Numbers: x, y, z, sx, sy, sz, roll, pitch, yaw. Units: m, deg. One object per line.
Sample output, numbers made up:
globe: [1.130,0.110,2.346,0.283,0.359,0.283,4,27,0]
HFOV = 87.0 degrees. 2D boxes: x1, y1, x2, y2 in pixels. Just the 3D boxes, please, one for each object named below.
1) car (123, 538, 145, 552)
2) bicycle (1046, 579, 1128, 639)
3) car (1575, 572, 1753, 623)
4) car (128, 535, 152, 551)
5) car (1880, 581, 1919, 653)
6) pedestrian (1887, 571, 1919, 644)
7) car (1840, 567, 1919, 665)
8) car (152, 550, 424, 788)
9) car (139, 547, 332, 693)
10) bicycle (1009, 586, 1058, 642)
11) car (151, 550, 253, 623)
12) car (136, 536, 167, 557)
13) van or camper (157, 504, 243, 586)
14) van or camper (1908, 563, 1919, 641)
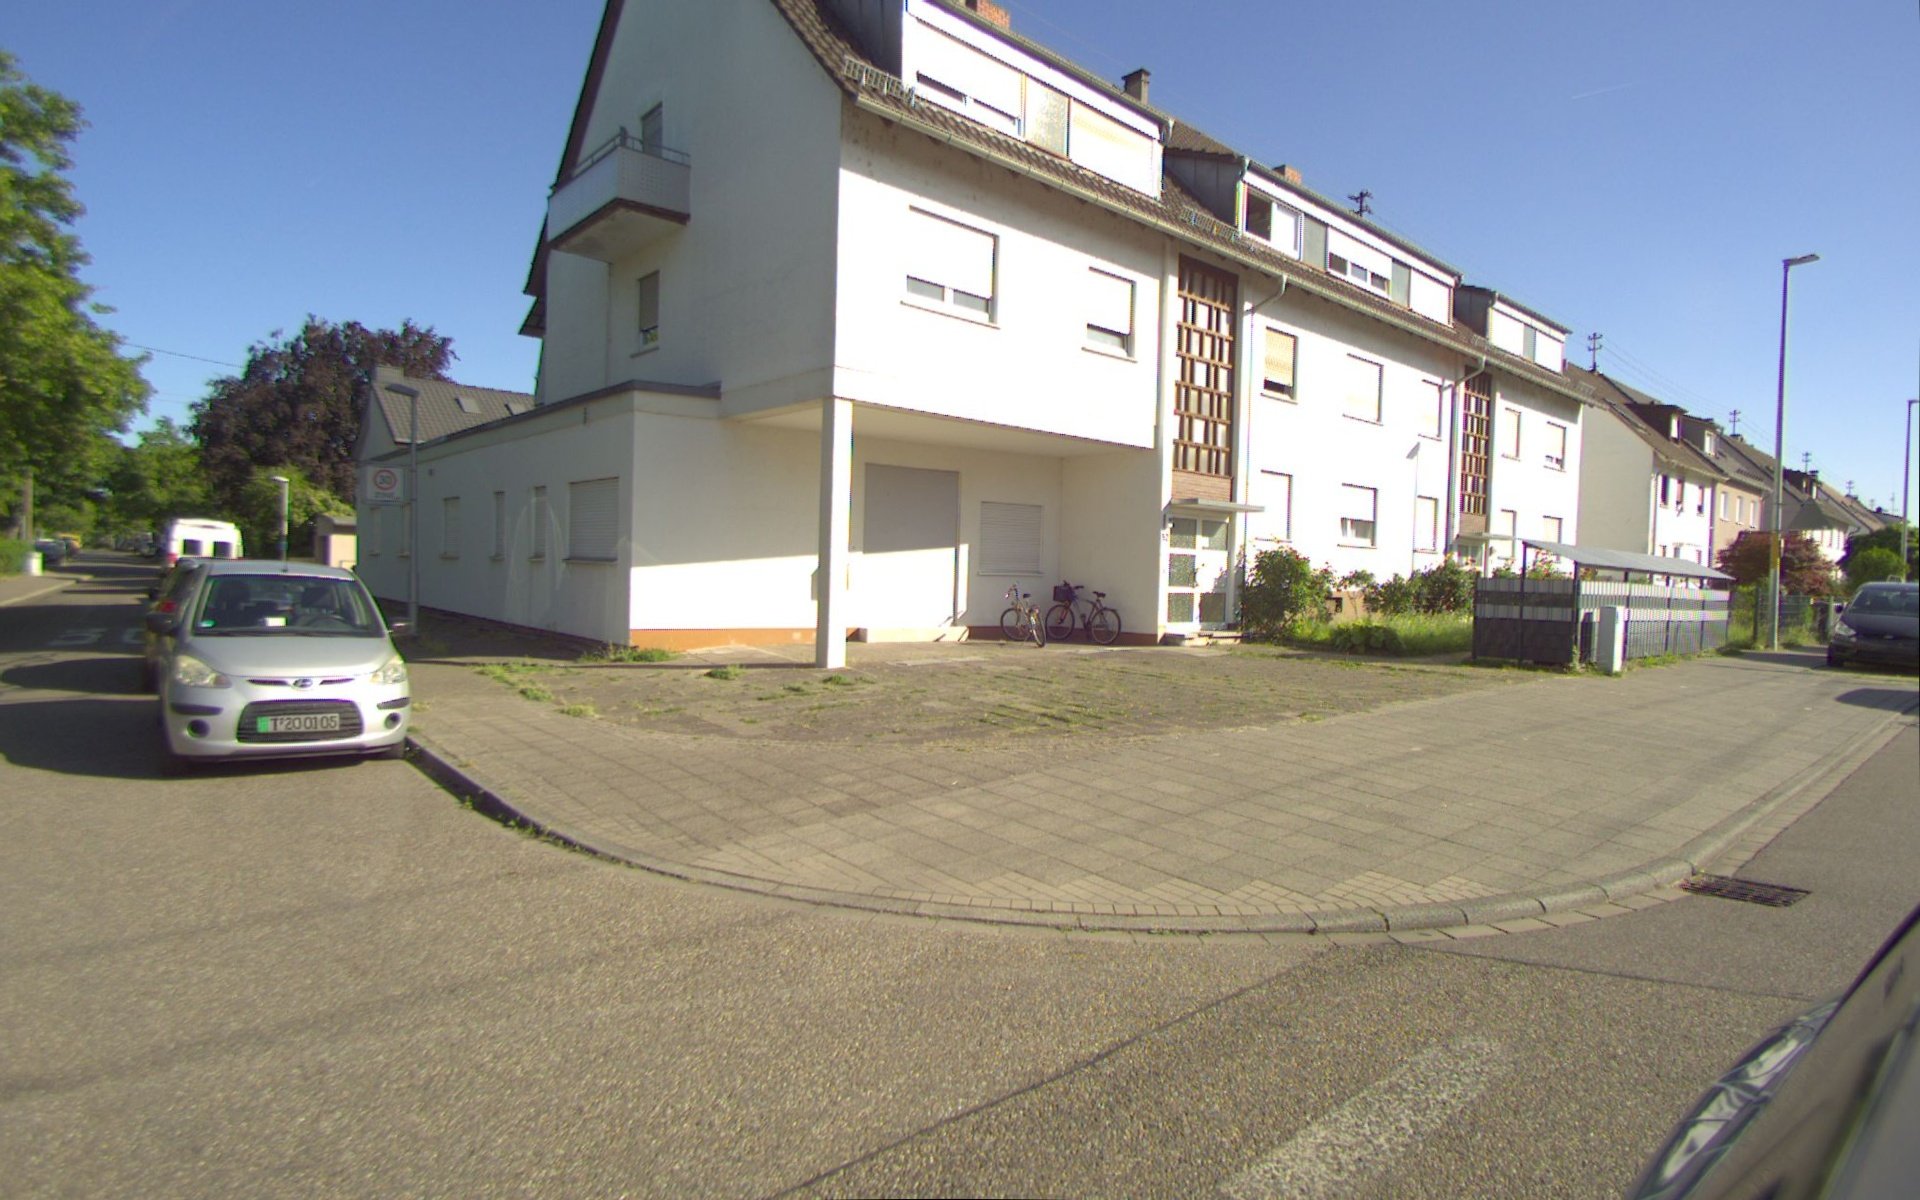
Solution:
car: [-128.988,-8.550,158.059,2.392,1.941,5.150,0,1,-38]
bicycle: [2.249,0.136,18.104,0.326,1.015,1.713,0,1,-38]
car: [24.230,-0.152,34.969,1.875,1.495,4.719,-1,3,-42]
car: [-111.690,-7.764,137.813,2.392,1.941,5.150,0,1,-38]
car: [22.274,0.382,22.796,4.085,1.511,1.661,0,3,-39]
pedestrian: [25.584,0.195,27.282,0.744,1.936,0.701,0,0,-32]
car: [18.439,0.309,19.338,4.777,1.648,1.795,0,4,-42]
car: [-5.850,0.385,8.626,1.617,1.549,3.604,0,3,-39]
car: [-9.200,0.138,12.723,1.712,1.516,4.012,0,2,-39]
bicycle: [1.225,0.223,17.134,0.481,0.882,1.546,1,1,-9]
car: [-16.629,-0.331,22.146,1.610,1.464,3.706,1,2,-39]
car: [-82.087,-5.402,102.819,2.392,1.941,5.150,0,1,-38]
van or camper: [-27.439,-1.890,36.486,2.206,2.723,5.059,0,1,-40]
van or camper: [27.026,0.119,26.538,5.193,1.980,2.036,1,2,-35]
